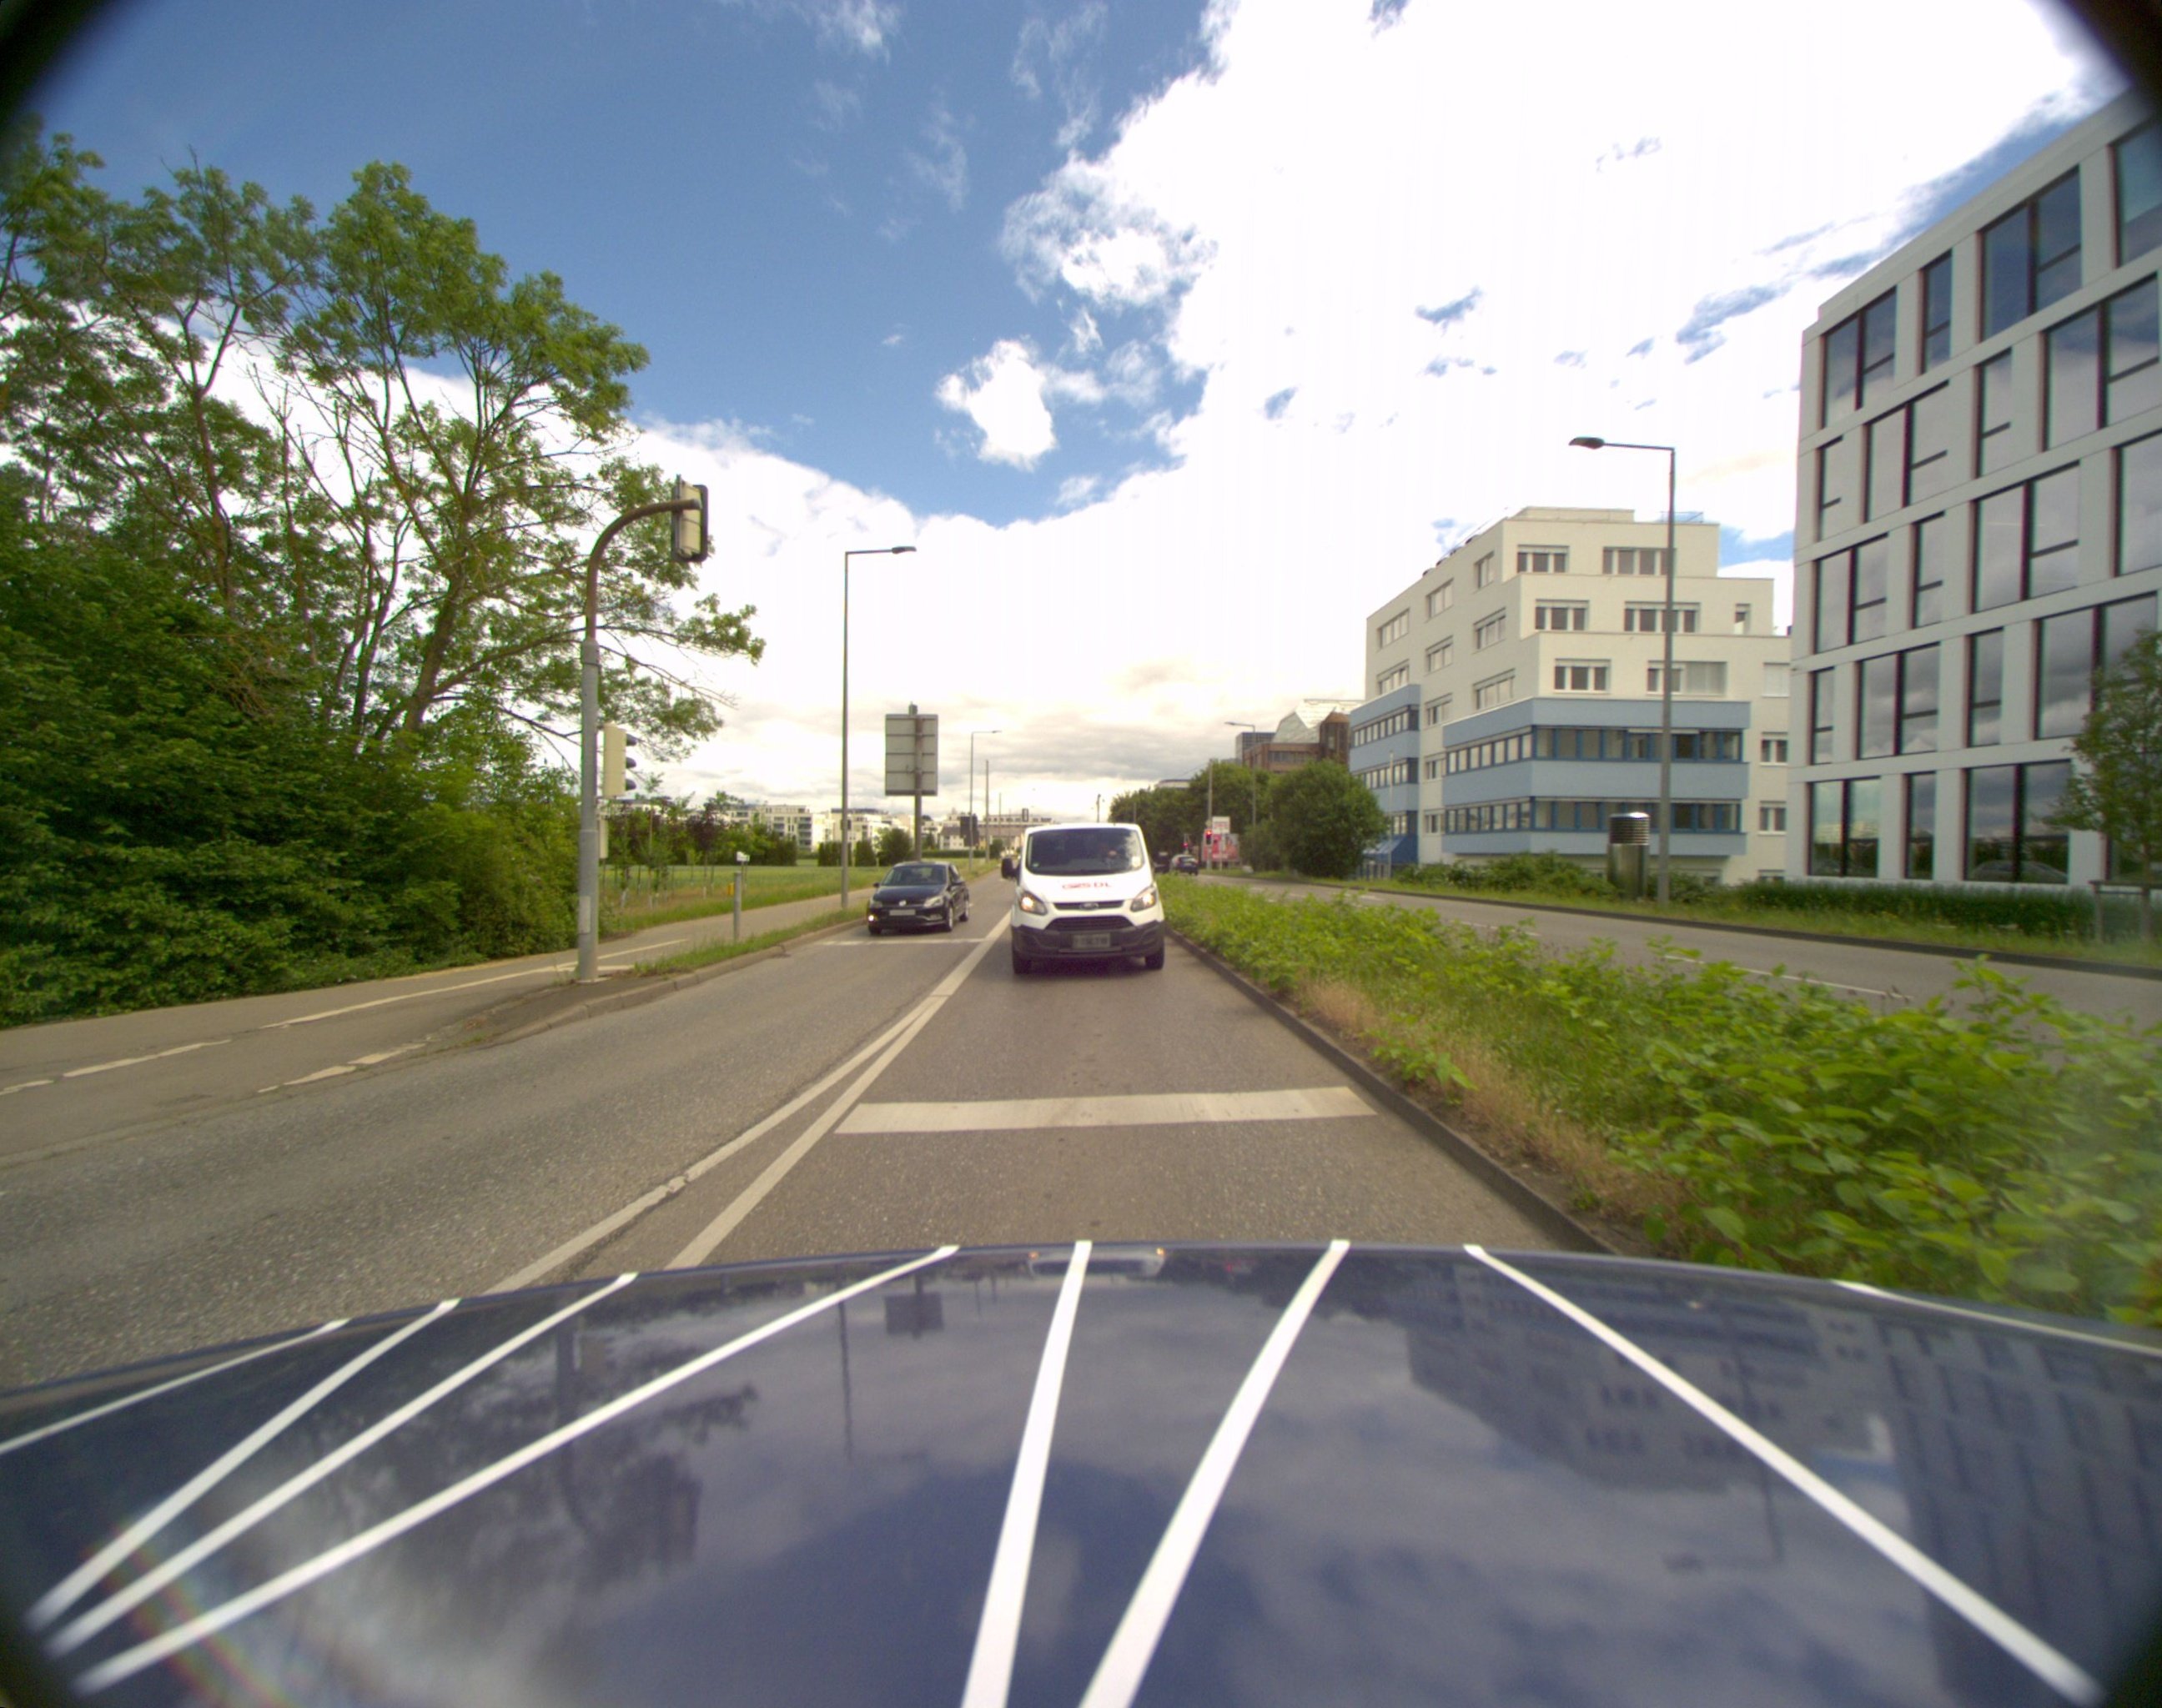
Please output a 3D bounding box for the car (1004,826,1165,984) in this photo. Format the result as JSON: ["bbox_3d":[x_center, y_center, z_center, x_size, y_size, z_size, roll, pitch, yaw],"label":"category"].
[{"bbox_3d":[-0.004,0.628,12.039,1.968,1.938,5.054,-1,0,-1],"label":"car"}]

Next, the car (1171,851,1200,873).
[{"bbox_3d":[7.468,0.534,54.463,1.758,1.438,3.892,-2,1,3],"label":"car"}]

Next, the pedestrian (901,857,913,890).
[{"bbox_3d":[-9.151,1.043,39.961,0.492,1.693,0.625,-2,1,-3],"label":"pedestrian"}]

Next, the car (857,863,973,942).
[{"bbox_3d":[-3.447,0.962,16.456,1.682,1.410,3.739,-1,1,0],"label":"car"}]
